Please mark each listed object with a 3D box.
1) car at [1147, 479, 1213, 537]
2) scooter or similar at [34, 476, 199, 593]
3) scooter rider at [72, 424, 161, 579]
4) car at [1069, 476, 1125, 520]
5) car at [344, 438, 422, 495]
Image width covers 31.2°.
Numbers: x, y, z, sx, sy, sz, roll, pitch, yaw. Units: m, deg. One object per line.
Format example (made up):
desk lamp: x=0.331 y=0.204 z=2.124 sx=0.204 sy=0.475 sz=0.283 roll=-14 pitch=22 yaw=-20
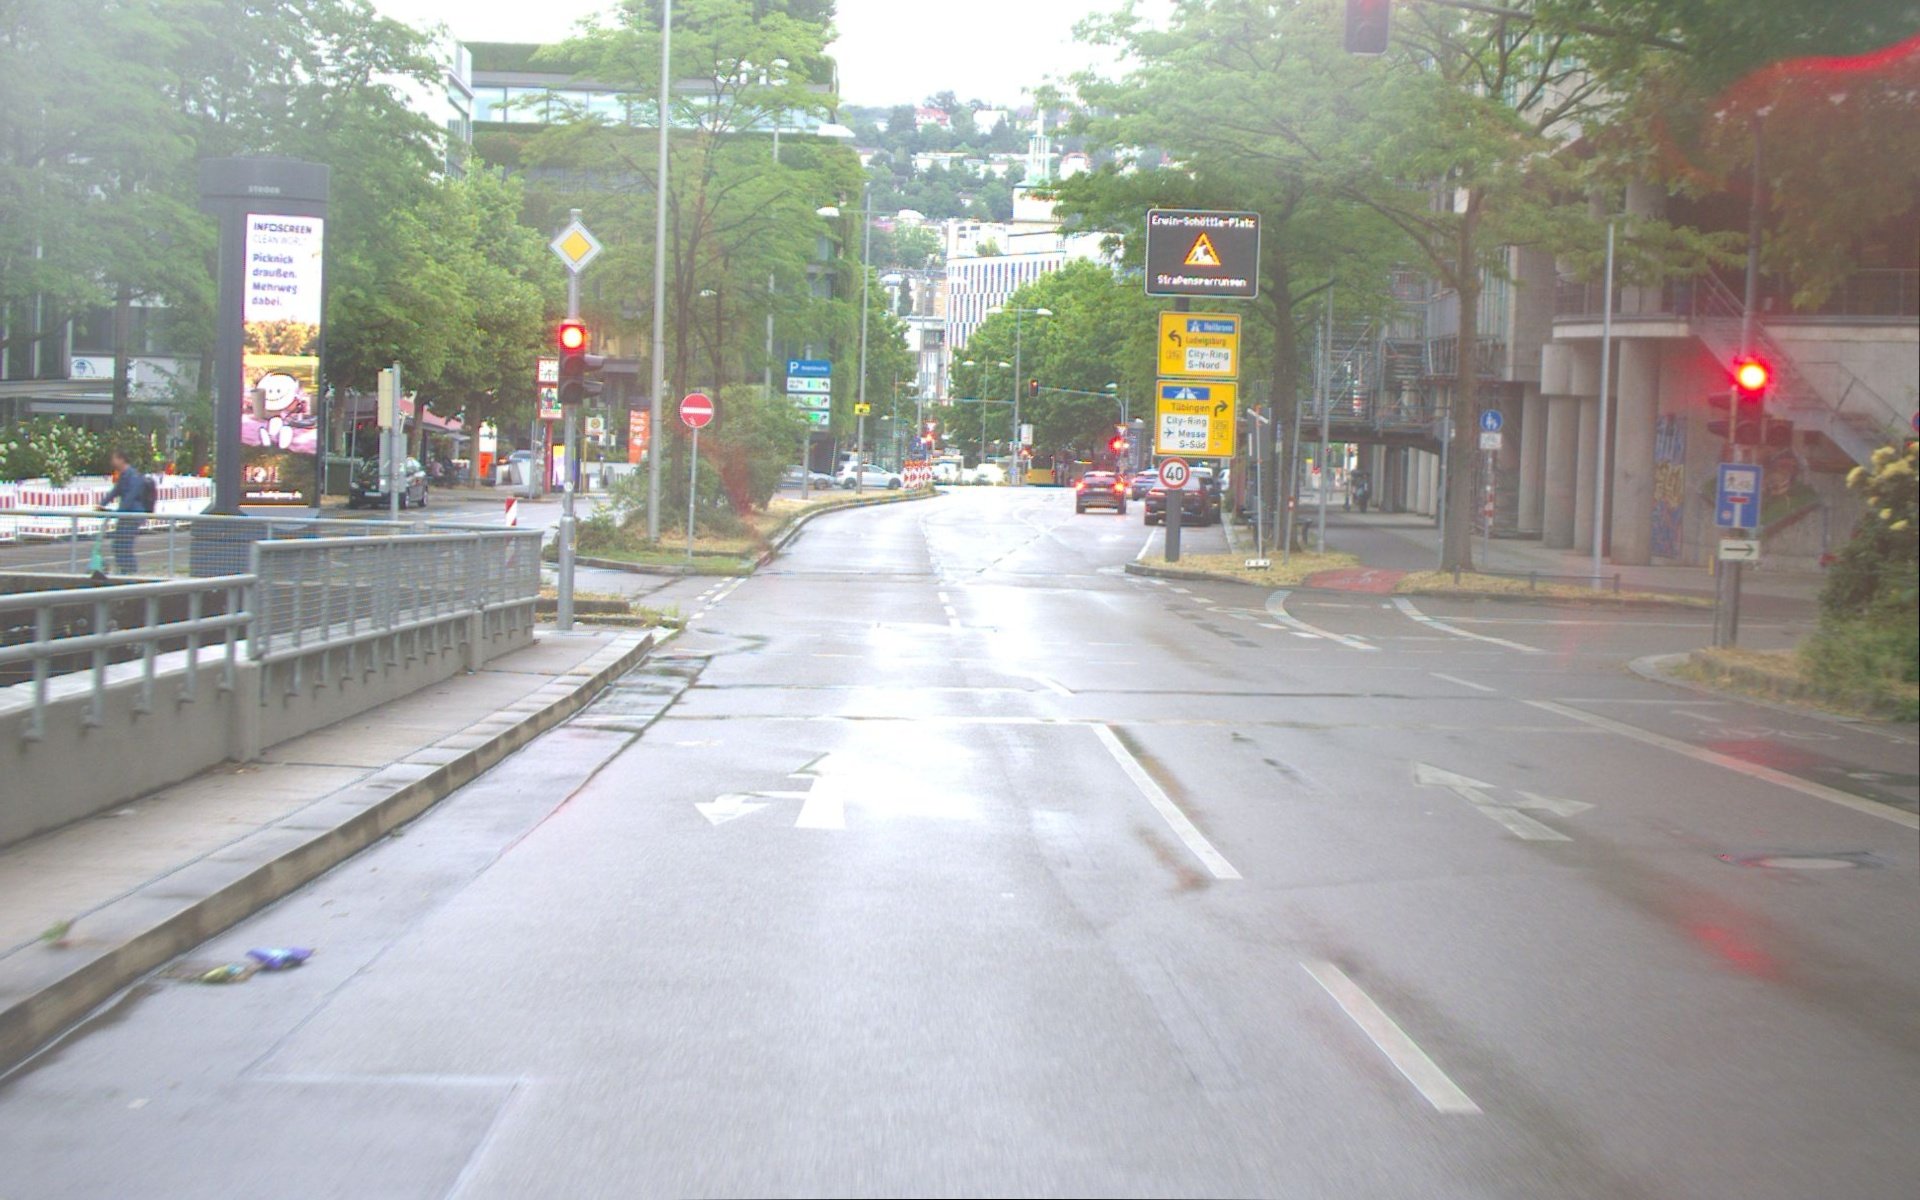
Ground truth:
car: x=6.738 y=-2.825 z=105.430 sx=1.901 sy=1.678 sz=3.911 roll=3 pitch=2 yaw=3
scooter or similar: x=-10.887 y=-0.849 z=44.392 sx=1.949 sy=1.413 sz=0.547 roll=3 pitch=2 yaw=5
scooter rider: x=-10.888 y=-1.270 z=44.385 sx=0.820 sy=1.941 sz=0.811 roll=3 pitch=2 yaw=6
car: x=5.014 y=-3.751 z=126.082 sx=1.746 sy=1.514 sz=4.107 roll=3 pitch=2 yaw=-1
car: x=-17.625 y=-4.104 z=105.191 sx=1.780 sy=1.550 sz=3.894 roll=3 pitch=4 yaw=-2
